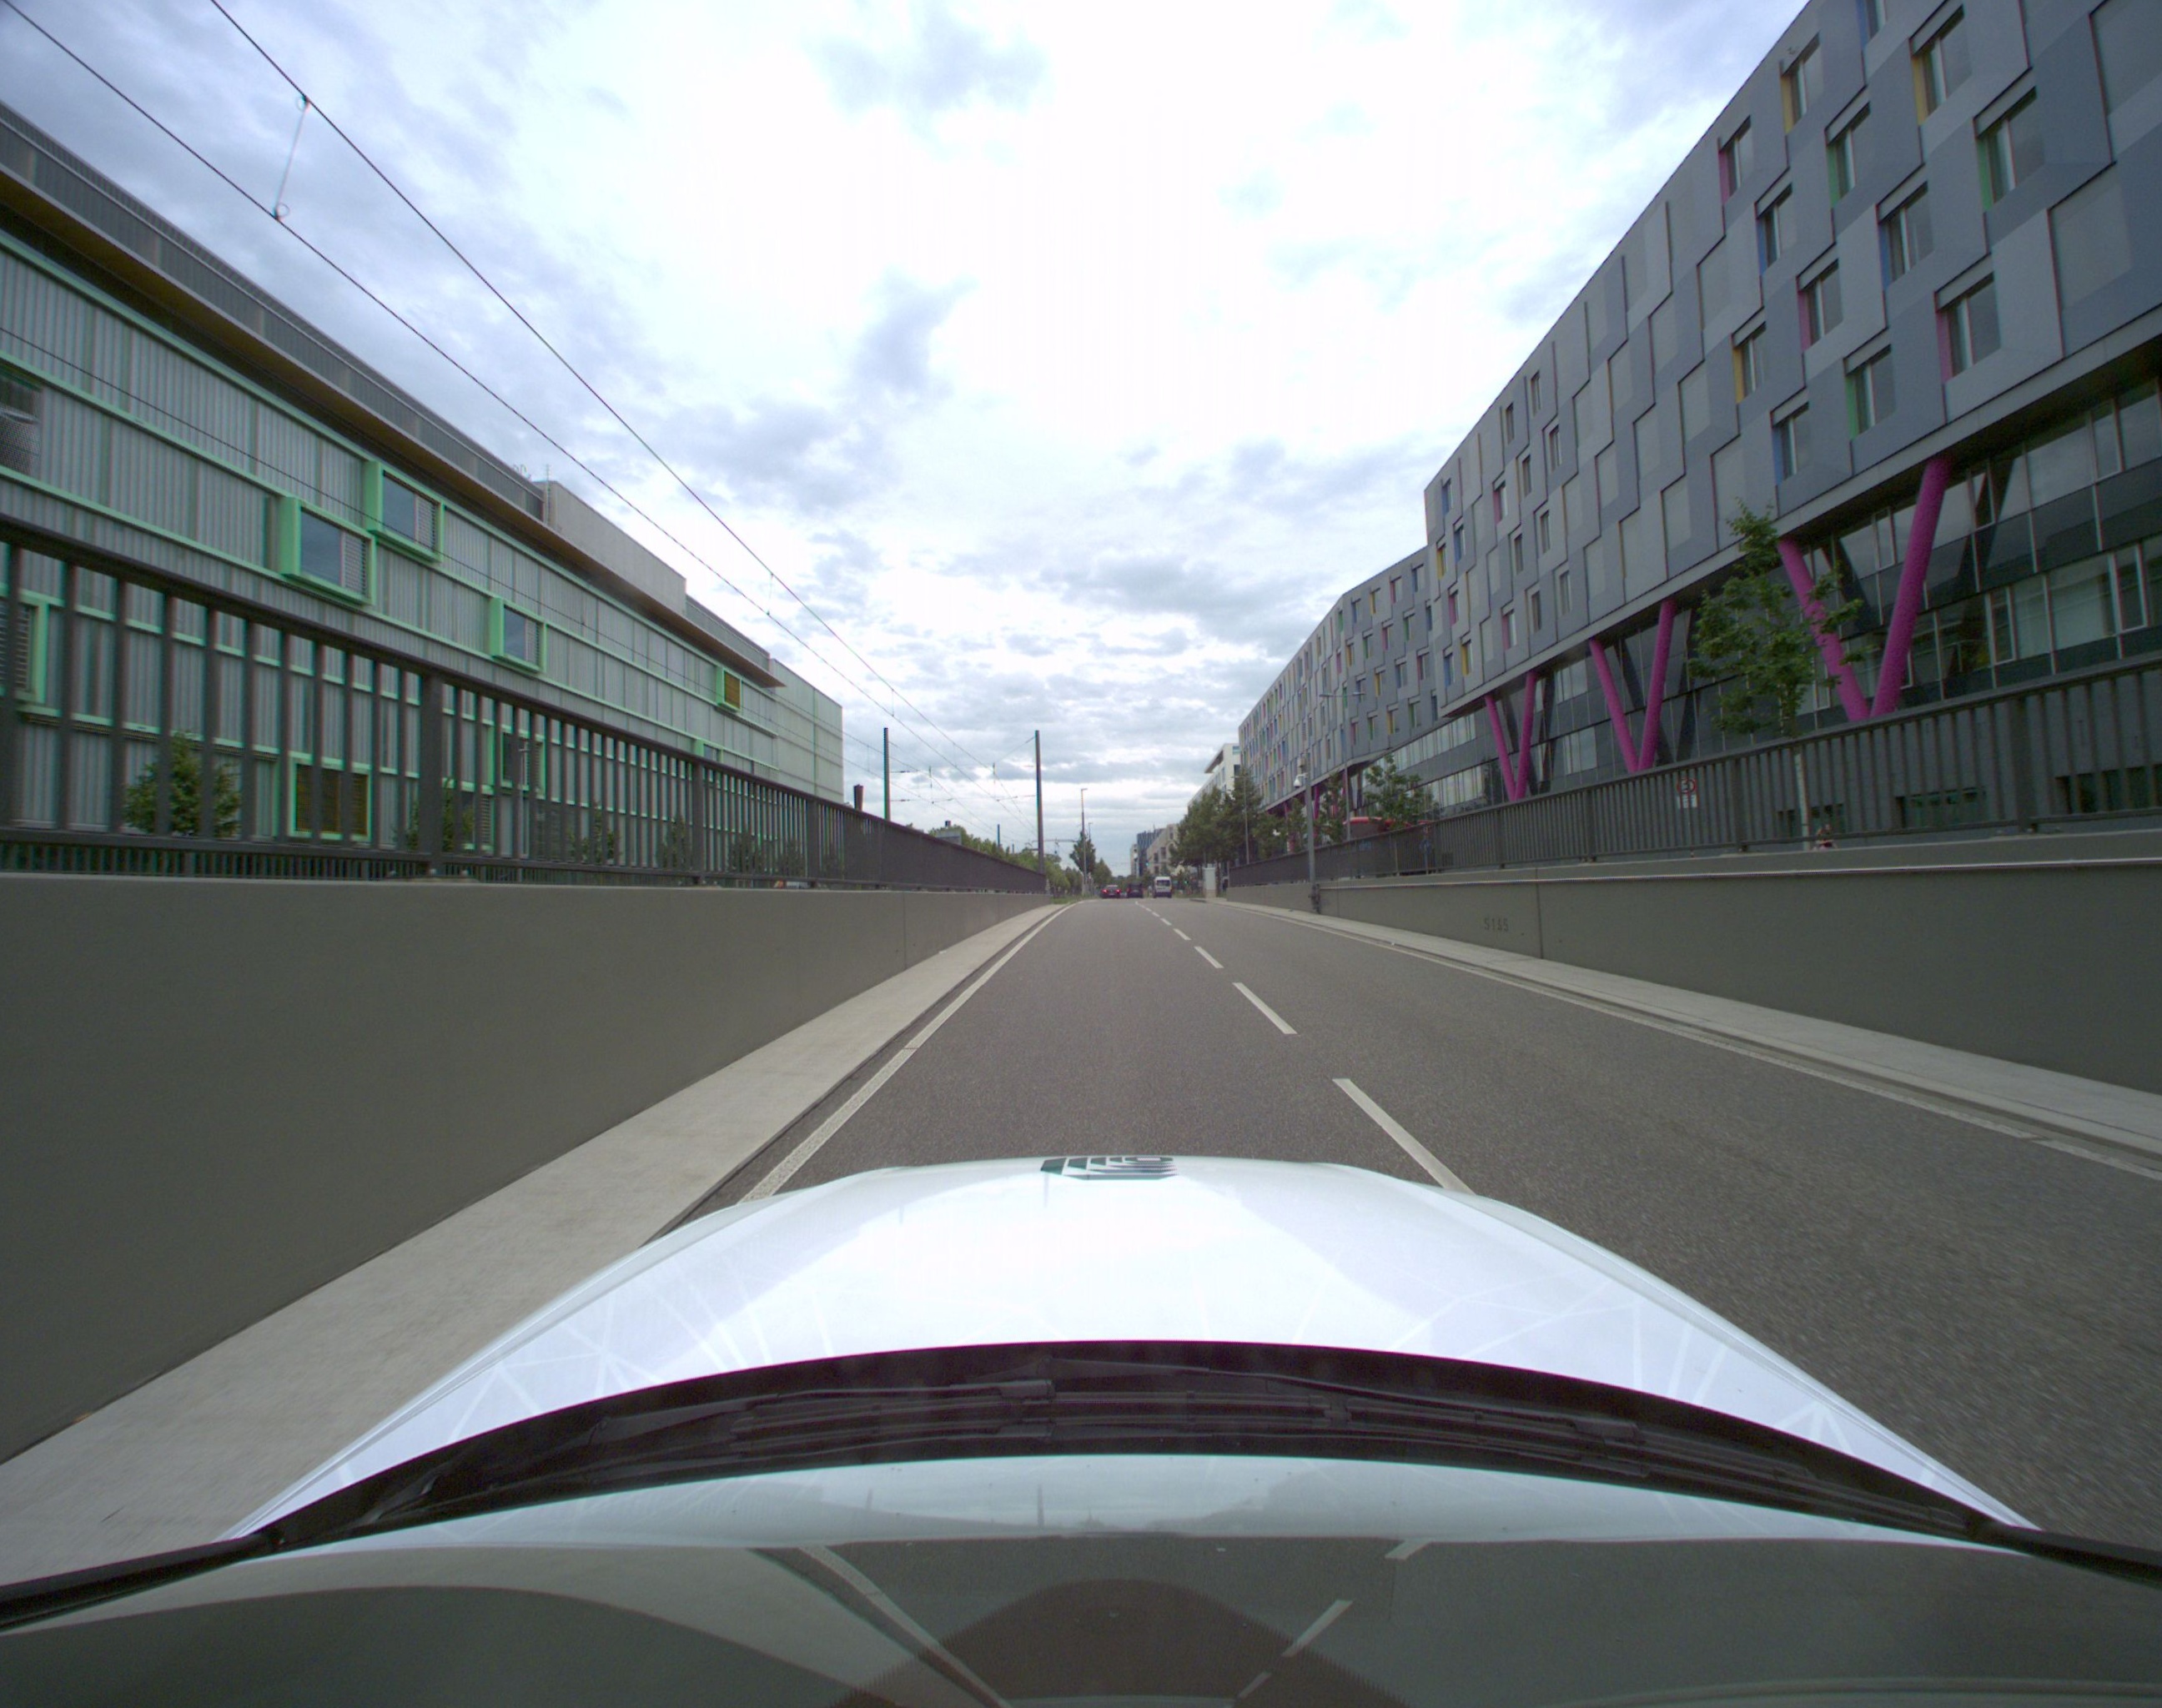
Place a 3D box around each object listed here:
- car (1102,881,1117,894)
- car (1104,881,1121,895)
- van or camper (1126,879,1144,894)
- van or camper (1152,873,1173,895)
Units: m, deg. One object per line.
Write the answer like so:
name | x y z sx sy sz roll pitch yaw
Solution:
car | 3.987 4.729 114.442 1.984 1.682 4.004 -1 -3 4
car | 3.417 3.734 89.087 1.737 1.417 4.000 -1 -3 1
van or camper | 6.126 3.693 92.872 1.985 1.615 4.791 -1 -2 3
van or camper | 9.400 3.437 94.212 2.100 2.356 4.925 -1 -1 3
